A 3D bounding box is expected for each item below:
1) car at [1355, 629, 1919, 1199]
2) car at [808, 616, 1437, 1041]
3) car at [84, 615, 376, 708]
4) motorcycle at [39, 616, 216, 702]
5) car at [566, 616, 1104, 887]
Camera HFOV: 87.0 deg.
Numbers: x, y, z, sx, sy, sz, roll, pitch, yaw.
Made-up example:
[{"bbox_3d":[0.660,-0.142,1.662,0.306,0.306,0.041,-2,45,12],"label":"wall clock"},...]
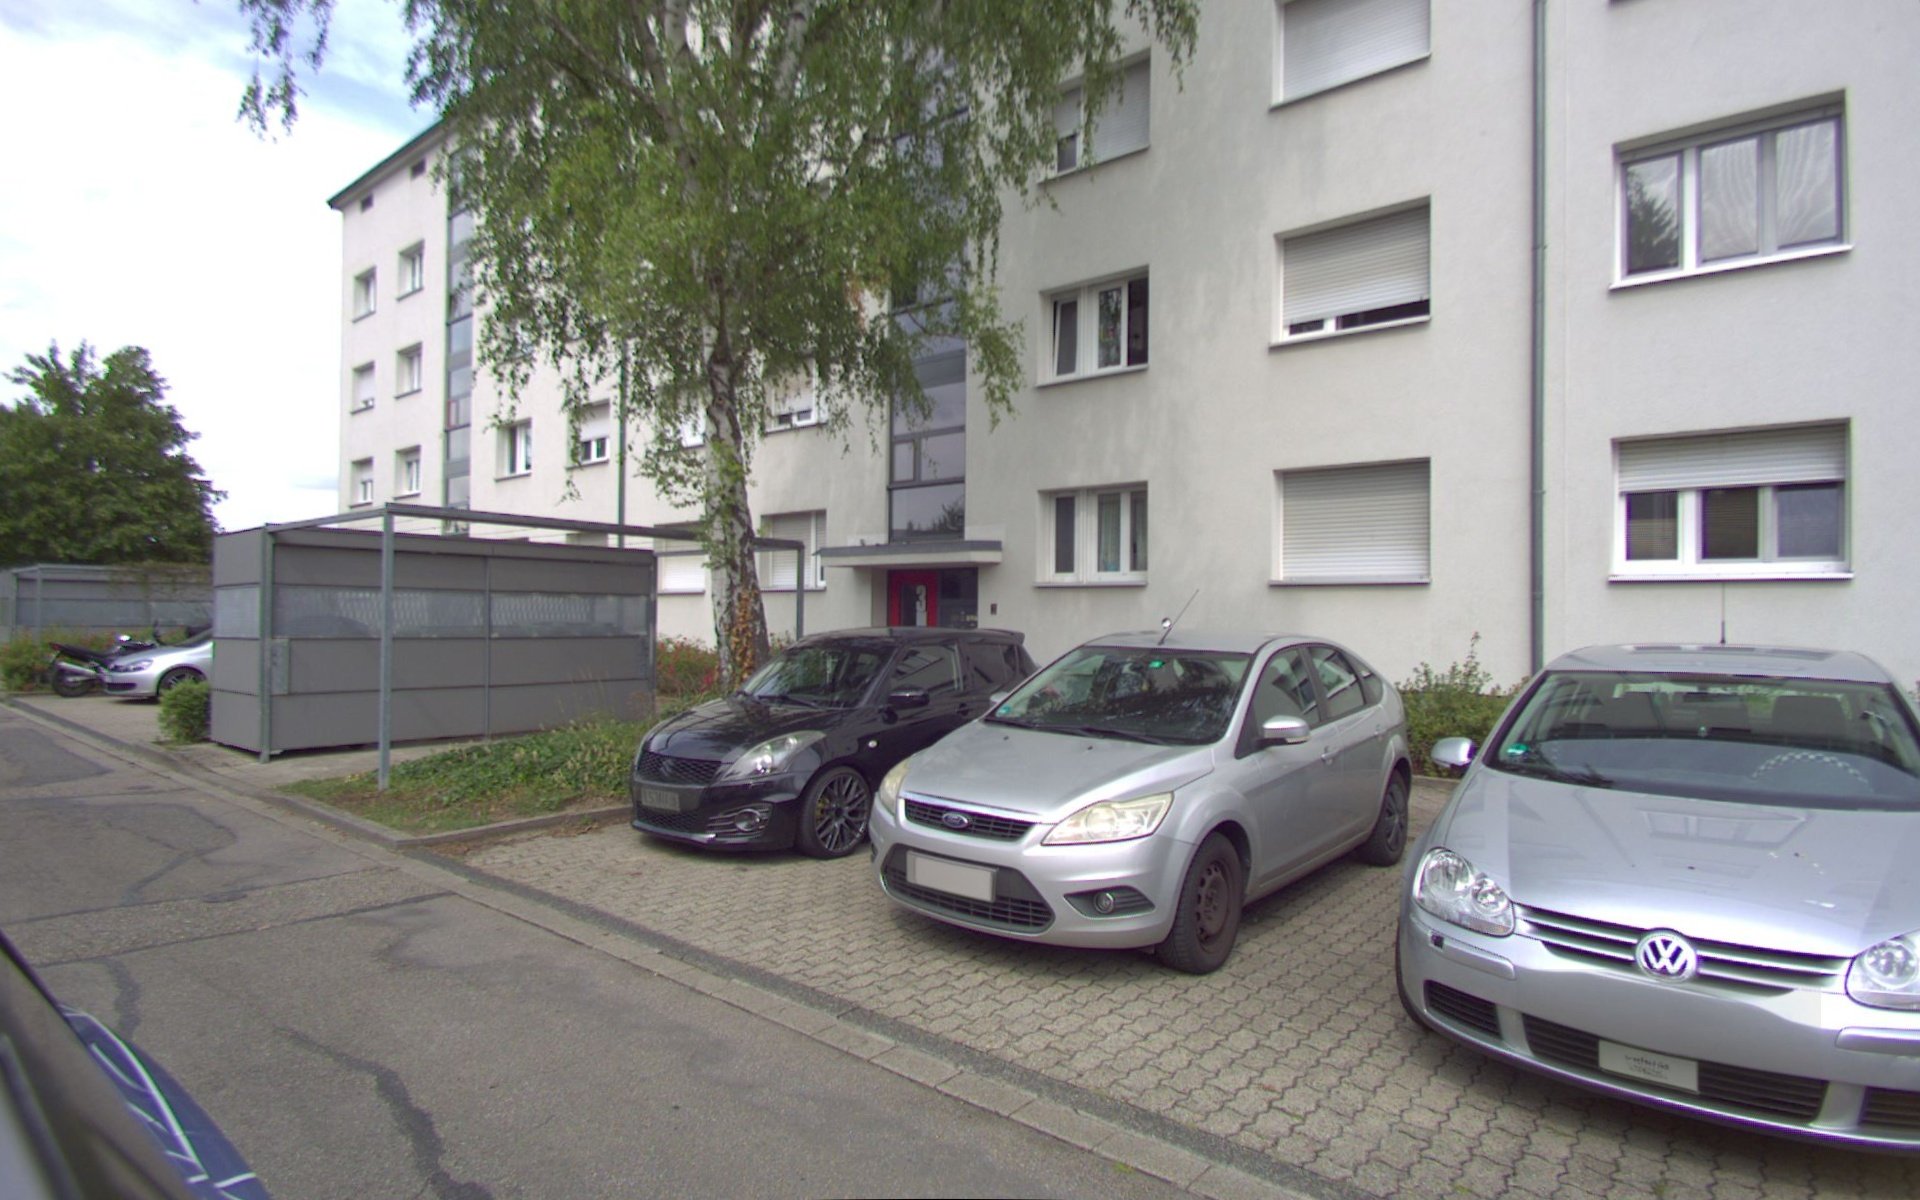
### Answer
[{"bbox_3d":[3.188,0.893,4.157,1.780,1.475,4.011,0,-2,39],"label":"car"},{"bbox_3d":[1.242,0.900,5.781,1.780,1.516,4.011,0,-2,39],"label":"car"},{"bbox_3d":[-13.169,1.118,18.435,1.902,1.497,3.945,-1,-4,41],"label":"car"},{"bbox_3d":[-15.215,1.083,18.580,0.713,1.475,2.353,-1,-4,39],"label":"motorcycle"},{"bbox_3d":[-0.704,0.931,7.838,1.780,1.516,4.011,0,-2,39],"label":"car"}]
